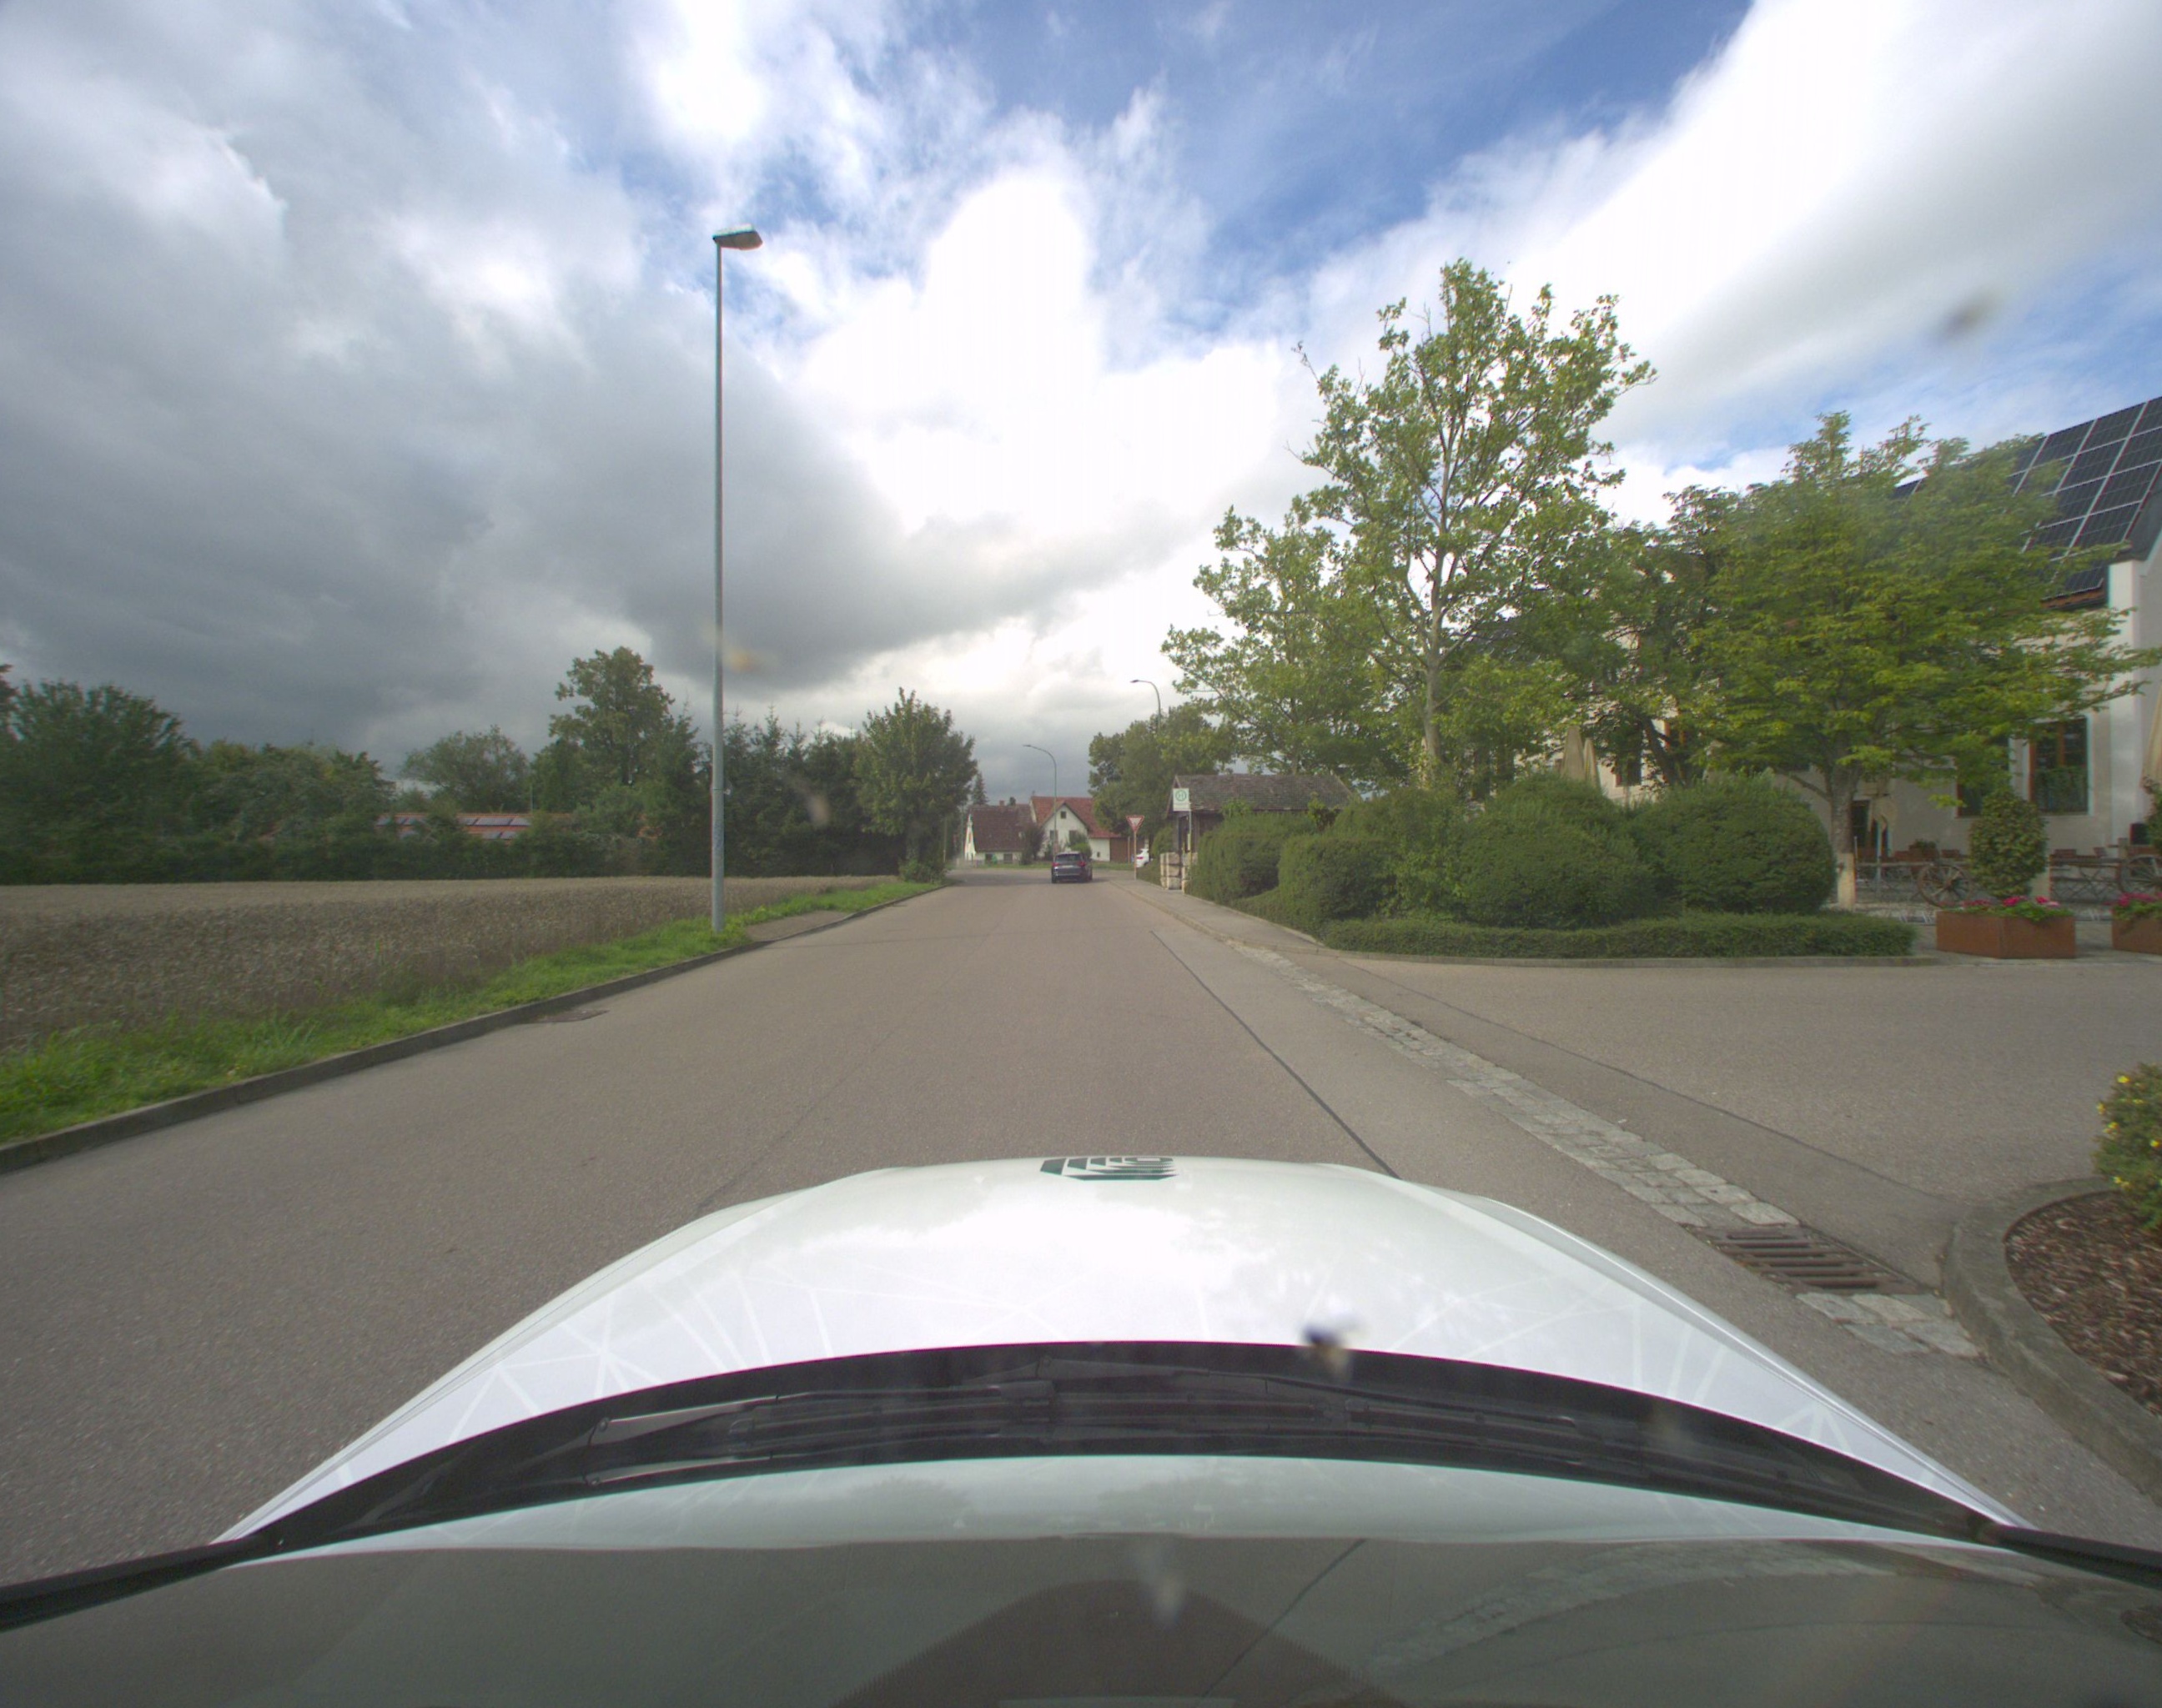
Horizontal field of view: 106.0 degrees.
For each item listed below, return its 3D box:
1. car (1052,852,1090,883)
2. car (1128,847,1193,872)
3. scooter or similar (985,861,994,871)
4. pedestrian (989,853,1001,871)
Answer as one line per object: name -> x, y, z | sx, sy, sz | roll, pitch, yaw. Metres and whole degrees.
car -> -0.463, 0.636, 41.160 | 1.792, 1.462, 3.663 | -1, 0, 1
car -> 4.940, 0.314, 50.756 | 3.958, 1.515, 1.807 | 0, 0, 4
scooter or similar -> -8.750, 1.140, 77.956 | 0.635, 0.948, 0.616 | 5, -3, -34
pedestrian -> -8.168, 0.744, 77.446 | 0.794, 1.665, 0.704 | 5, -3, -34
